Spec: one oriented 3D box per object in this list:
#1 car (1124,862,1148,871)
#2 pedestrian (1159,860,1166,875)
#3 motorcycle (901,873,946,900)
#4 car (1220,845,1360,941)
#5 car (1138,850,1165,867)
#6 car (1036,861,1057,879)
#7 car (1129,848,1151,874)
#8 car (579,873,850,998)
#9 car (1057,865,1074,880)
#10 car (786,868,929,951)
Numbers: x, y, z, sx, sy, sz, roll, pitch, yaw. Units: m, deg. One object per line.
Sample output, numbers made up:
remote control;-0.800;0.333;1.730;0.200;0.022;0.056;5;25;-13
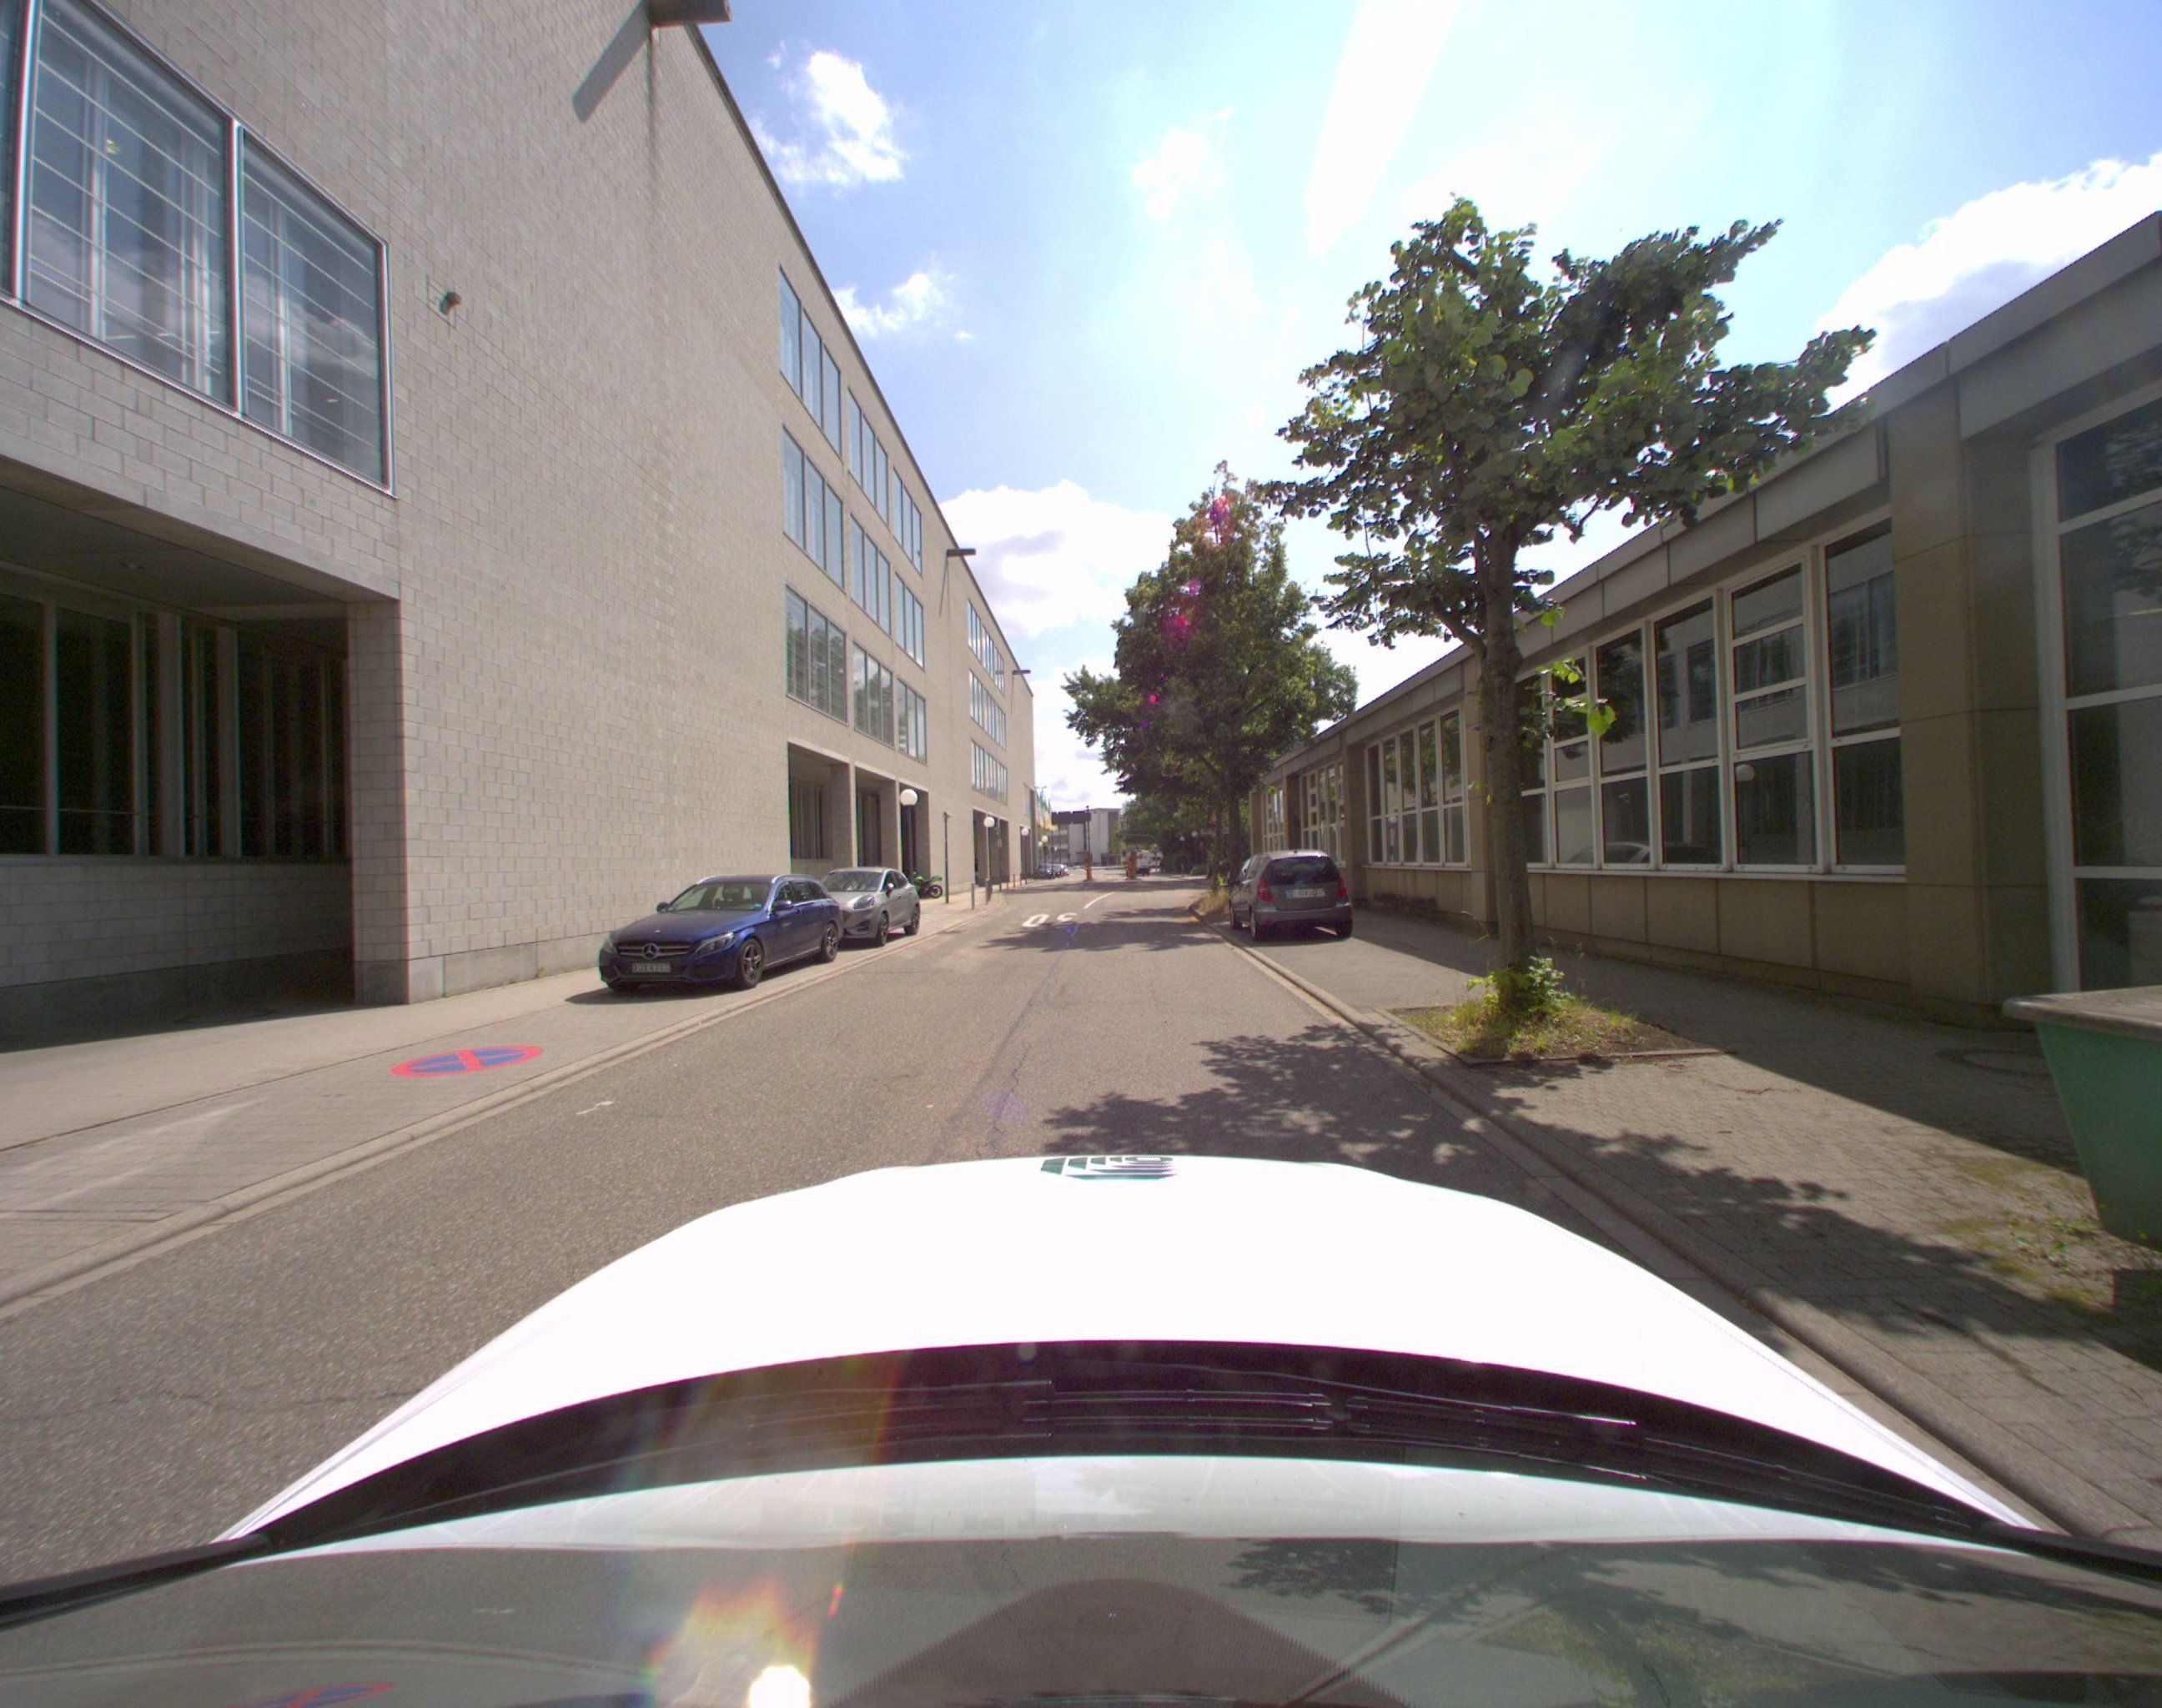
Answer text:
car;8.654;1.988;128.624;3.712;1.330;1.669;-1;-1;5
pedestrian;9.378;1.589;93.825;0.657;1.729;0.635;-1;-1;1
motorcycle;-6.932;1.403;35.828;1.857;1.105;0.656;-1;-1;-18
car;3.950;0.695;16.052;1.851;1.574;4.003;-3;-1;3
car;12.408;0.793;143.444;4.362;2.739;1.998;-1;-1;-3
car;-3.215;1.525;76.991;1.639;1.498;3.730;-2;-3;2
car;5.886;0.688;81.683;2.075;2.540;4.318;-1;-1;2
car;-4.987;1.021;11.837;1.758;1.428;4.239;-1;-1;4
car;-1.690;2.007;88.856;1.639;1.498;3.730;-2;-3;2
car;-4.506;1.052;17.087;1.624;1.485;4.181;-1;-1;3
